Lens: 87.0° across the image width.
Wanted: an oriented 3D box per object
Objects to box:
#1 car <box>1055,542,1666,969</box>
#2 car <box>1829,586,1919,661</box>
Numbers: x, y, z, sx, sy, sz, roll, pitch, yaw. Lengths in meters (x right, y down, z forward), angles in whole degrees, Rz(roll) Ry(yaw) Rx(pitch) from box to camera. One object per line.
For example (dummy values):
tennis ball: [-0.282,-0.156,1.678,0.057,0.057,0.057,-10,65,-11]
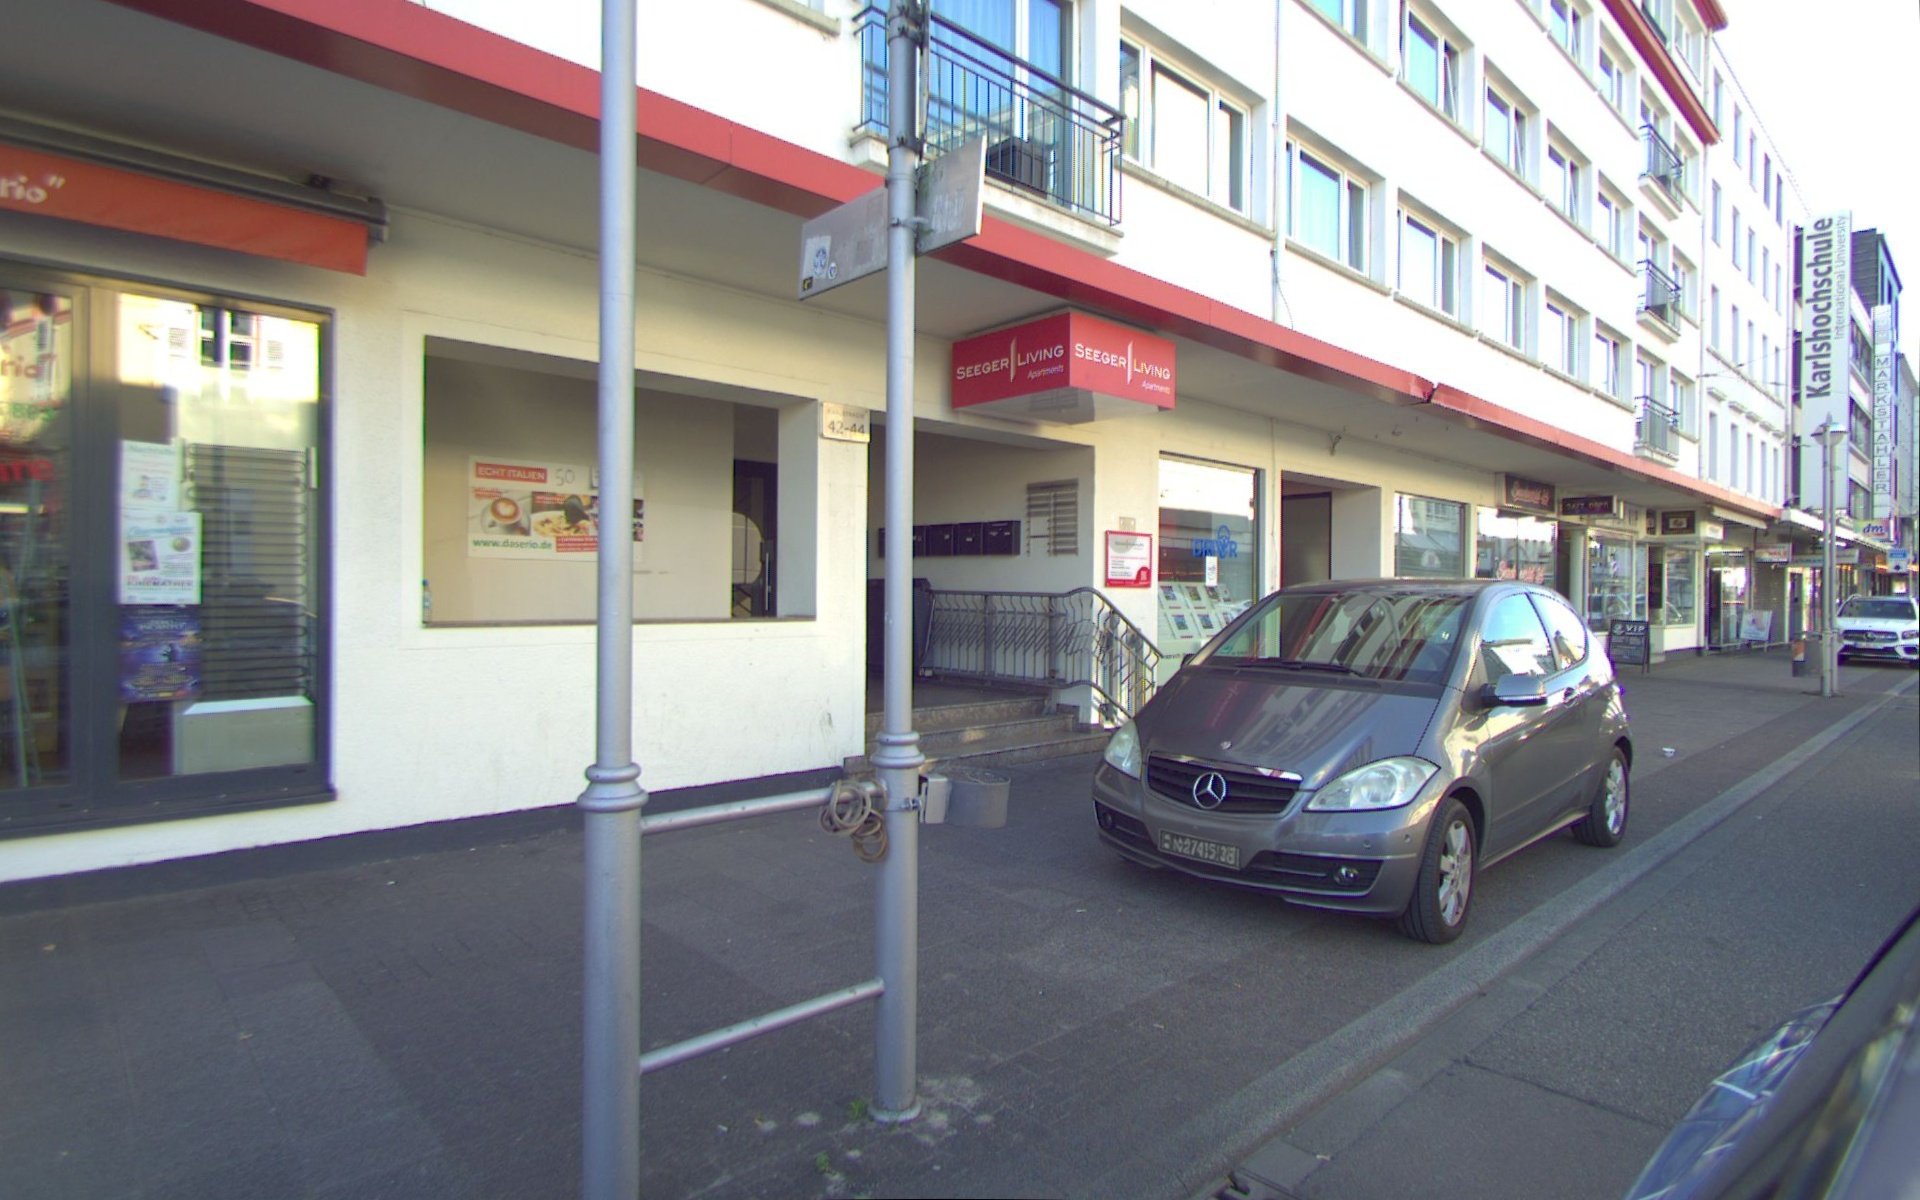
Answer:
car: [2.464,0.571,5.679,3.932,1.565,1.681,0,0,-43]
car: [22.400,0.517,24.355,1.994,1.650,3.935,1,1,45]
